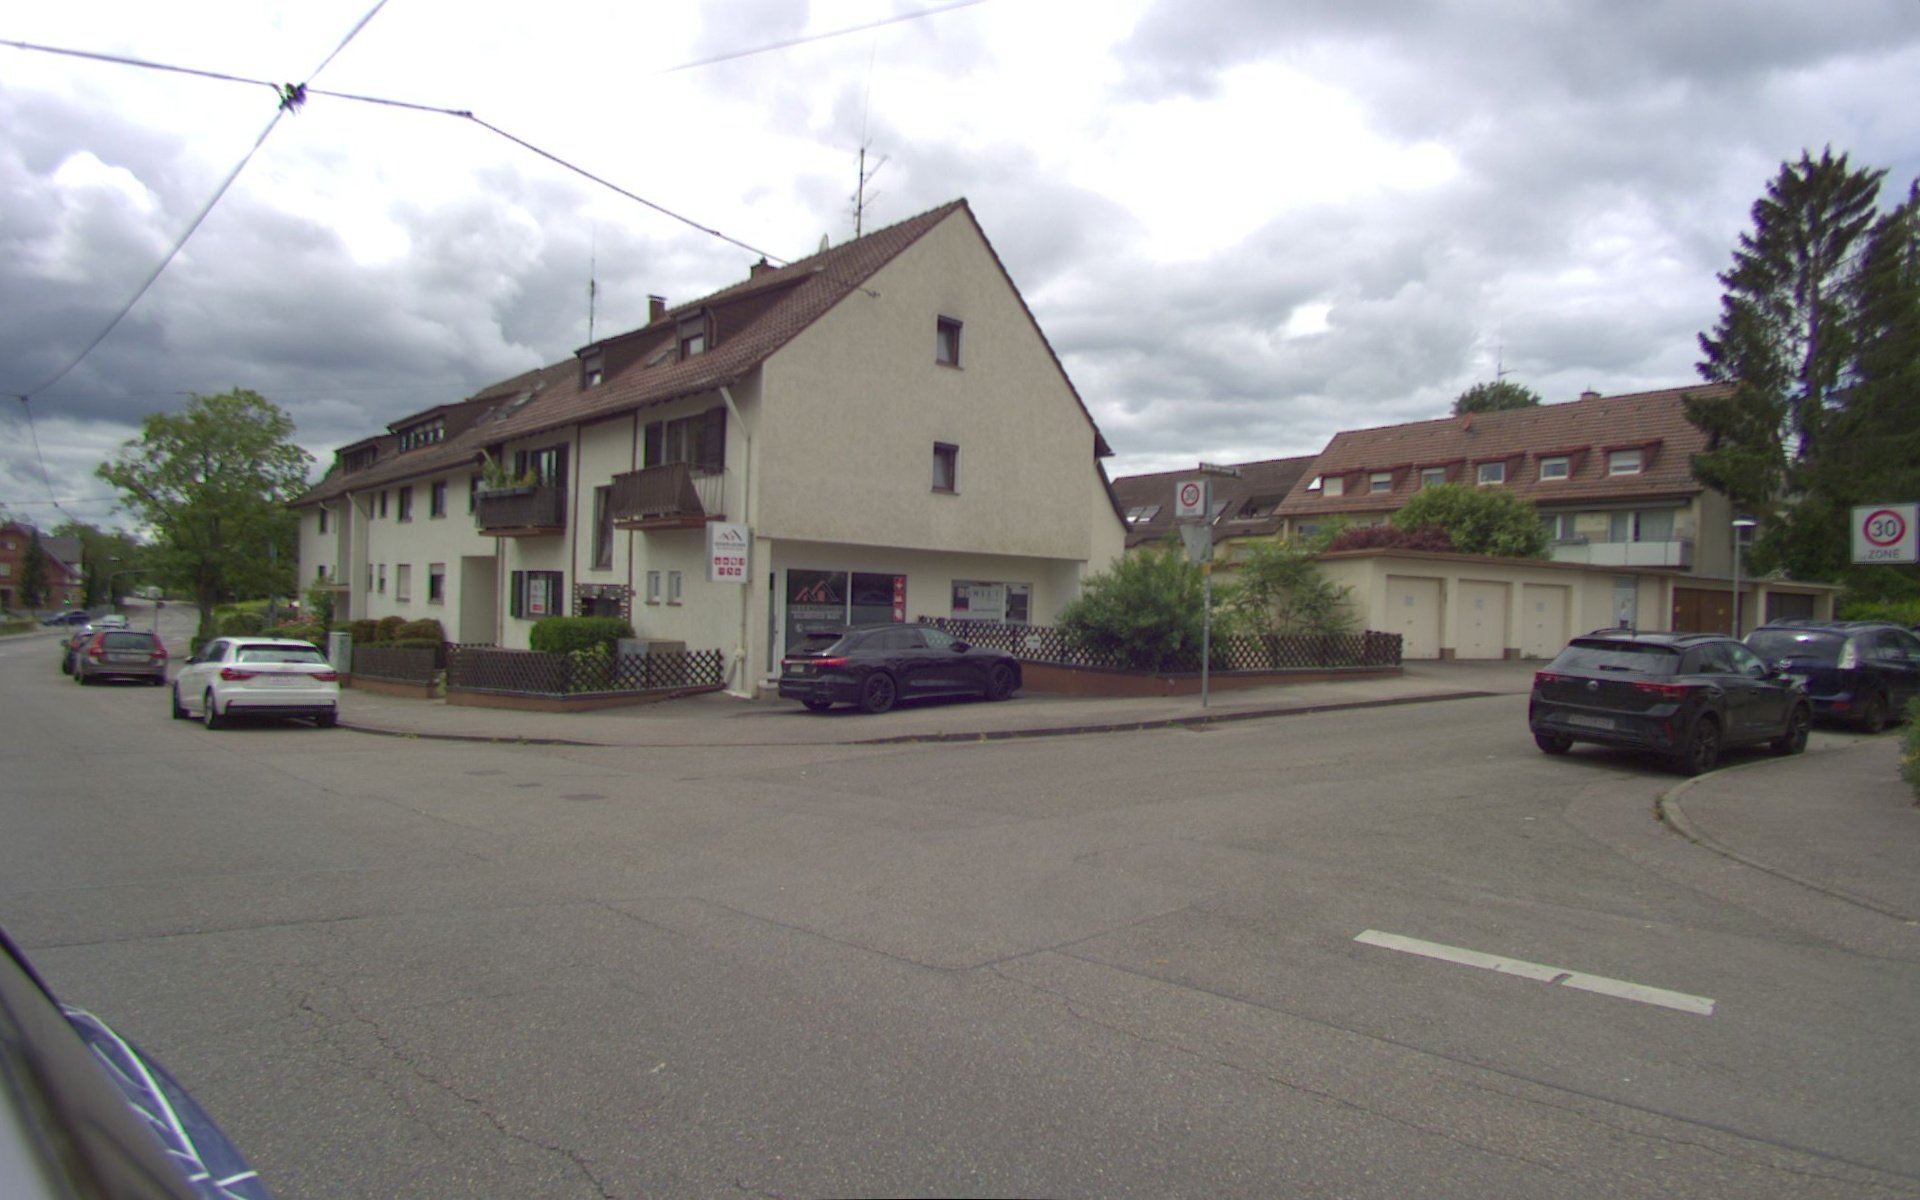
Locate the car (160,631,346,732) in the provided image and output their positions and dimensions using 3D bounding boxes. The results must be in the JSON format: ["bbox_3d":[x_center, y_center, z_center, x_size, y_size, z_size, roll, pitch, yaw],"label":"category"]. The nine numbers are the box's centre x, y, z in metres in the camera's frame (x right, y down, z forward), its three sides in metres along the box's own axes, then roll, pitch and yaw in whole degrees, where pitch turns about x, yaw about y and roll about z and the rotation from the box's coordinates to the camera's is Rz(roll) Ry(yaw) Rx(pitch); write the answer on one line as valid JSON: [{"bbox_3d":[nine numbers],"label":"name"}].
[{"bbox_3d":[-11.783,1.301,16.776,3.899,1.469,1.707,-1,-6,44],"label":"car"}]

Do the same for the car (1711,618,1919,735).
[{"bbox_3d":[14.154,1.131,15.955,4.342,1.575,2.007,2,0,-28],"label":"car"}]

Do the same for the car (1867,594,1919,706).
[{"bbox_3d":[19.260,0.948,18.886,3.930,2.029,2.007,1,0,-24],"label":"car"}]

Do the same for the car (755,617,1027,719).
[{"bbox_3d":[-1.090,1.081,17.607,4.465,1.483,2.002,0,-2,-44],"label":"car"}]

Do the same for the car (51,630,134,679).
[{"bbox_3d":[-28.718,1.785,33.467,1.742,1.449,4.081,7,-6,-44],"label":"car"}]

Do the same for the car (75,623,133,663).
[{"bbox_3d":[-39.650,1.961,46.974,1.826,1.727,4.584,4,-3,-38],"label":"car"}]

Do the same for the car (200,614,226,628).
[{"bbox_3d":[-81.560,2.276,110.488,1.689,1.364,4.096,4,-2,-29],"label":"car"}]

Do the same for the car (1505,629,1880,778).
[{"bbox_3d":[9.064,1.166,12.494,4.342,1.483,2.007,2,0,-28],"label":"car"}]

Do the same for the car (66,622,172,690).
[{"bbox_3d":[-23.579,1.531,28.301,1.825,1.693,4.790,6,-5,-44],"label":"car"}]
